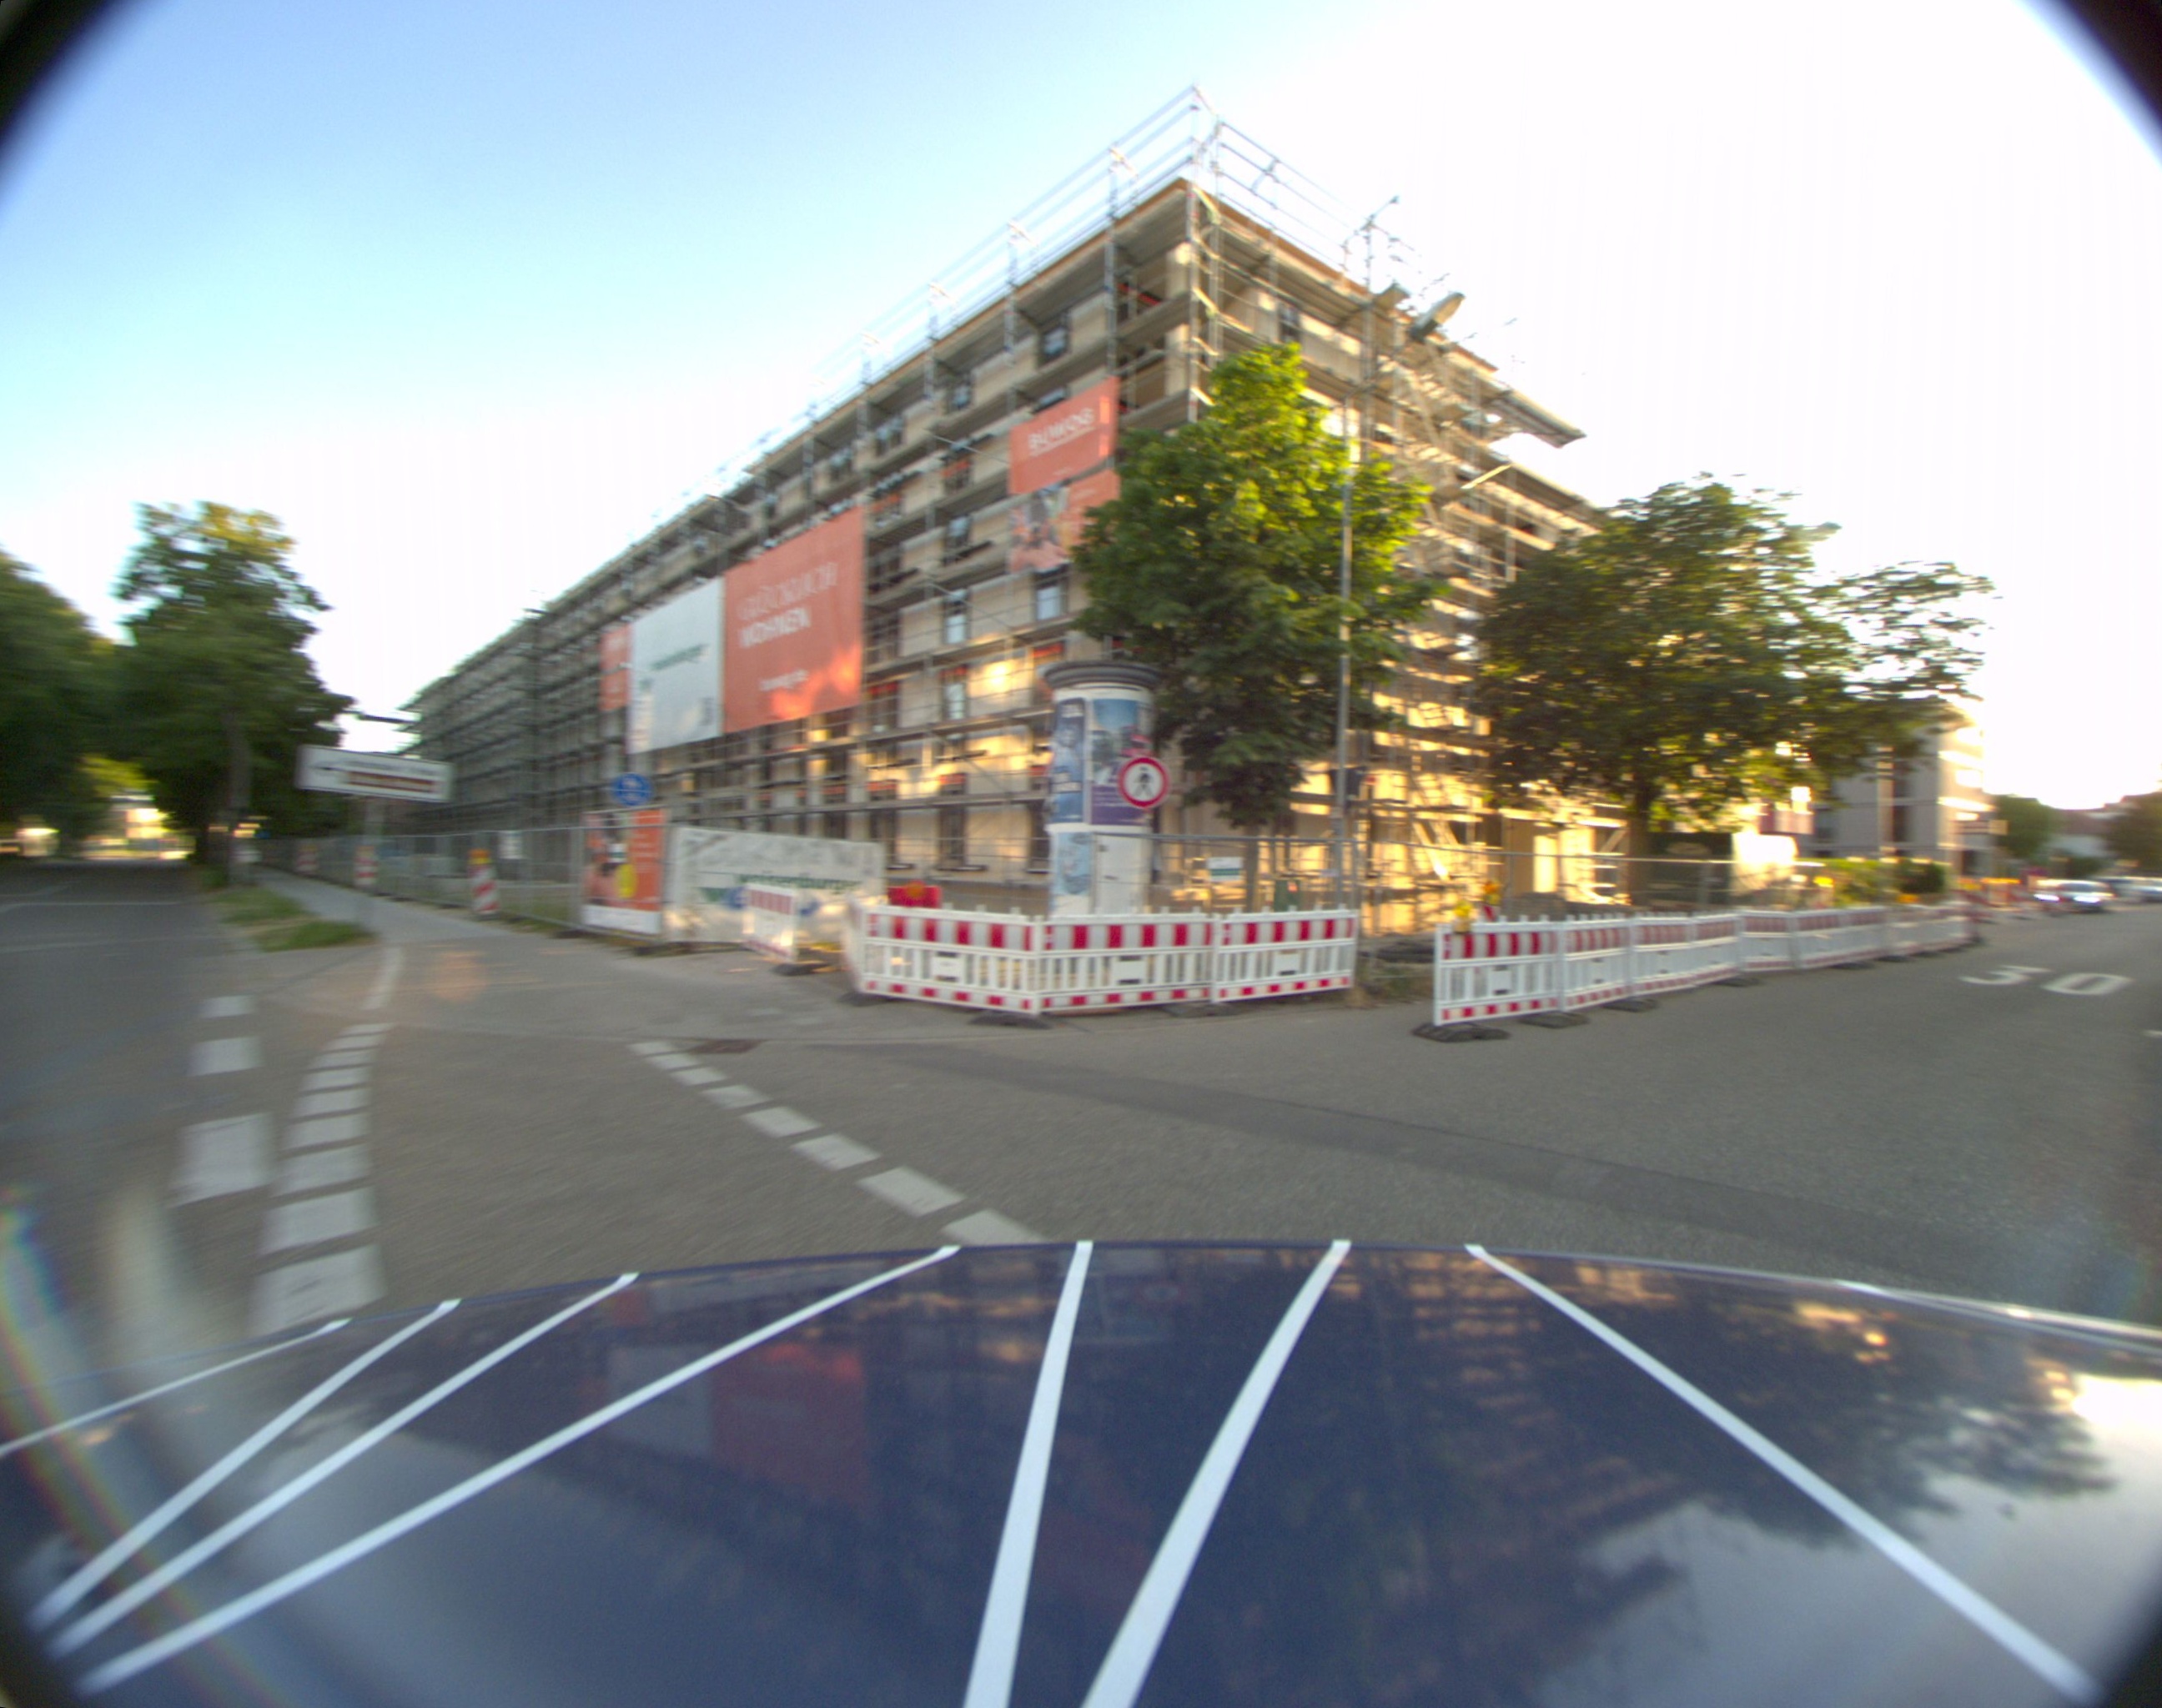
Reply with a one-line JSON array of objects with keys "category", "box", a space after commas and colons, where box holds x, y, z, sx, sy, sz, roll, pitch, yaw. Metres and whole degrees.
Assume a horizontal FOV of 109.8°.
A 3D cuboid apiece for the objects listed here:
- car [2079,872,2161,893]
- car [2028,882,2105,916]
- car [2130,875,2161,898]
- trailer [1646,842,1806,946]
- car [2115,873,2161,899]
[{"category": "car", "box": [79.205, 2.160, 57.149, 1.773, 1.390, 4.821, 1, 1, -31]}, {"category": "car", "box": [45.220, 2.039, 34.846, 4.115, 1.388, 1.777, 1, 0, -32]}, {"category": "car", "box": [73.877, 2.231, 52.253, 3.765, 1.461, 1.742, 1, 0, -31]}, {"category": "trailer", "box": [17.226, 0.993, 20.262, 4.193, 2.525, 1.995, 1, 0, -31]}, {"category": "car", "box": [64.941, 1.947, 46.613, 4.004, 1.461, 1.615, 1, 0, -34]}]
